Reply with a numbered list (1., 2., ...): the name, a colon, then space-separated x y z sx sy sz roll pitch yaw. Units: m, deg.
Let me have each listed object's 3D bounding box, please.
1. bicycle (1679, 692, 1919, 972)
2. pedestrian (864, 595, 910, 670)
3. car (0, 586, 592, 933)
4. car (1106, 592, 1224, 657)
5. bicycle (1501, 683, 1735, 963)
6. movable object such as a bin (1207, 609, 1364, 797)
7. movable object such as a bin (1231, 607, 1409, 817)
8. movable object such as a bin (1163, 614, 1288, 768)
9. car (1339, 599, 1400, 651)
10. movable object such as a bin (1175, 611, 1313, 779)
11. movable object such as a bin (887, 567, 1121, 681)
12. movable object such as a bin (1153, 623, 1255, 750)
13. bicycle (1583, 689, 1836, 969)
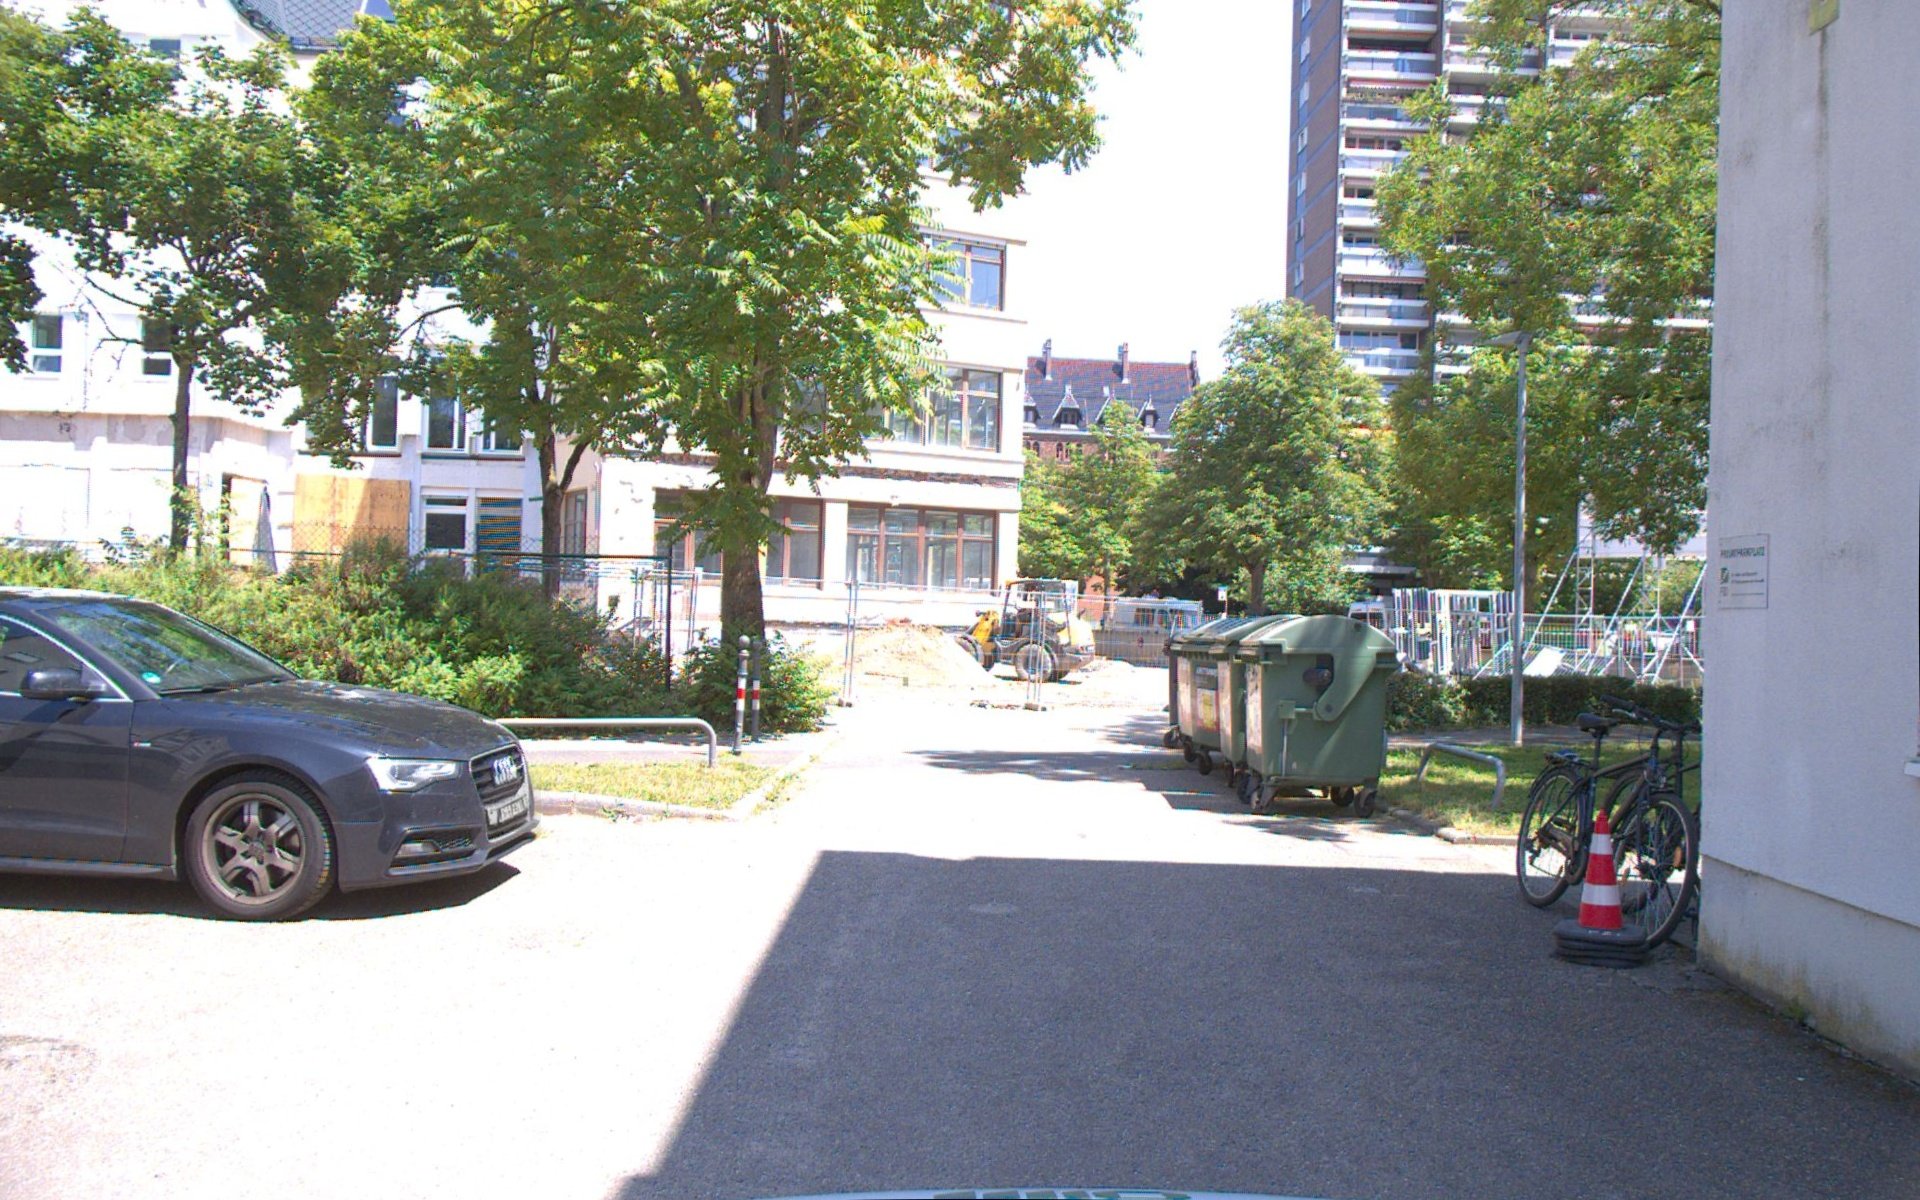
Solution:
1. bicycle: 4.073 1.046 7.995 0.396 1.121 1.826 1 -1 0
2. pedestrian: -1.859 0.837 42.387 0.894 1.879 0.987 1 -1 13
3. car: -4.226 0.654 8.042 4.337 1.404 2.024 2 -1 2
4. car: 8.078 0.957 65.701 1.971 2.459 5.194 2 -1 -28
5. bicycle: 3.110 0.996 7.975 0.396 1.121 1.826 1 -1 0
6. movable object such as a bin: 2.733 0.841 14.047 1.053 1.483 1.377 1 -1 1
7. movable object such as a bin: 2.704 0.816 12.604 1.053 1.483 1.377 1 -1 1
8. movable object such as a bin: 2.697 0.903 16.941 1.053 1.483 1.377 1 -1 1
9. car: 19.273 1.192 77.656 2.139 2.298 4.868 1 -1 21
10. movable object such as a bin: 2.634 0.863 15.520 1.053 1.483 1.377 1 -1 1
11. movable object such as a bin: 1.082 0.585 41.555 5.301 2.507 2.364 3 0 29
12. movable object such as a bin: 2.997 1.044 20.445 1.053 1.483 1.377 1 -1 1
13. bicycle: 3.568 1.032 8.027 0.396 1.121 1.826 1 -1 0
